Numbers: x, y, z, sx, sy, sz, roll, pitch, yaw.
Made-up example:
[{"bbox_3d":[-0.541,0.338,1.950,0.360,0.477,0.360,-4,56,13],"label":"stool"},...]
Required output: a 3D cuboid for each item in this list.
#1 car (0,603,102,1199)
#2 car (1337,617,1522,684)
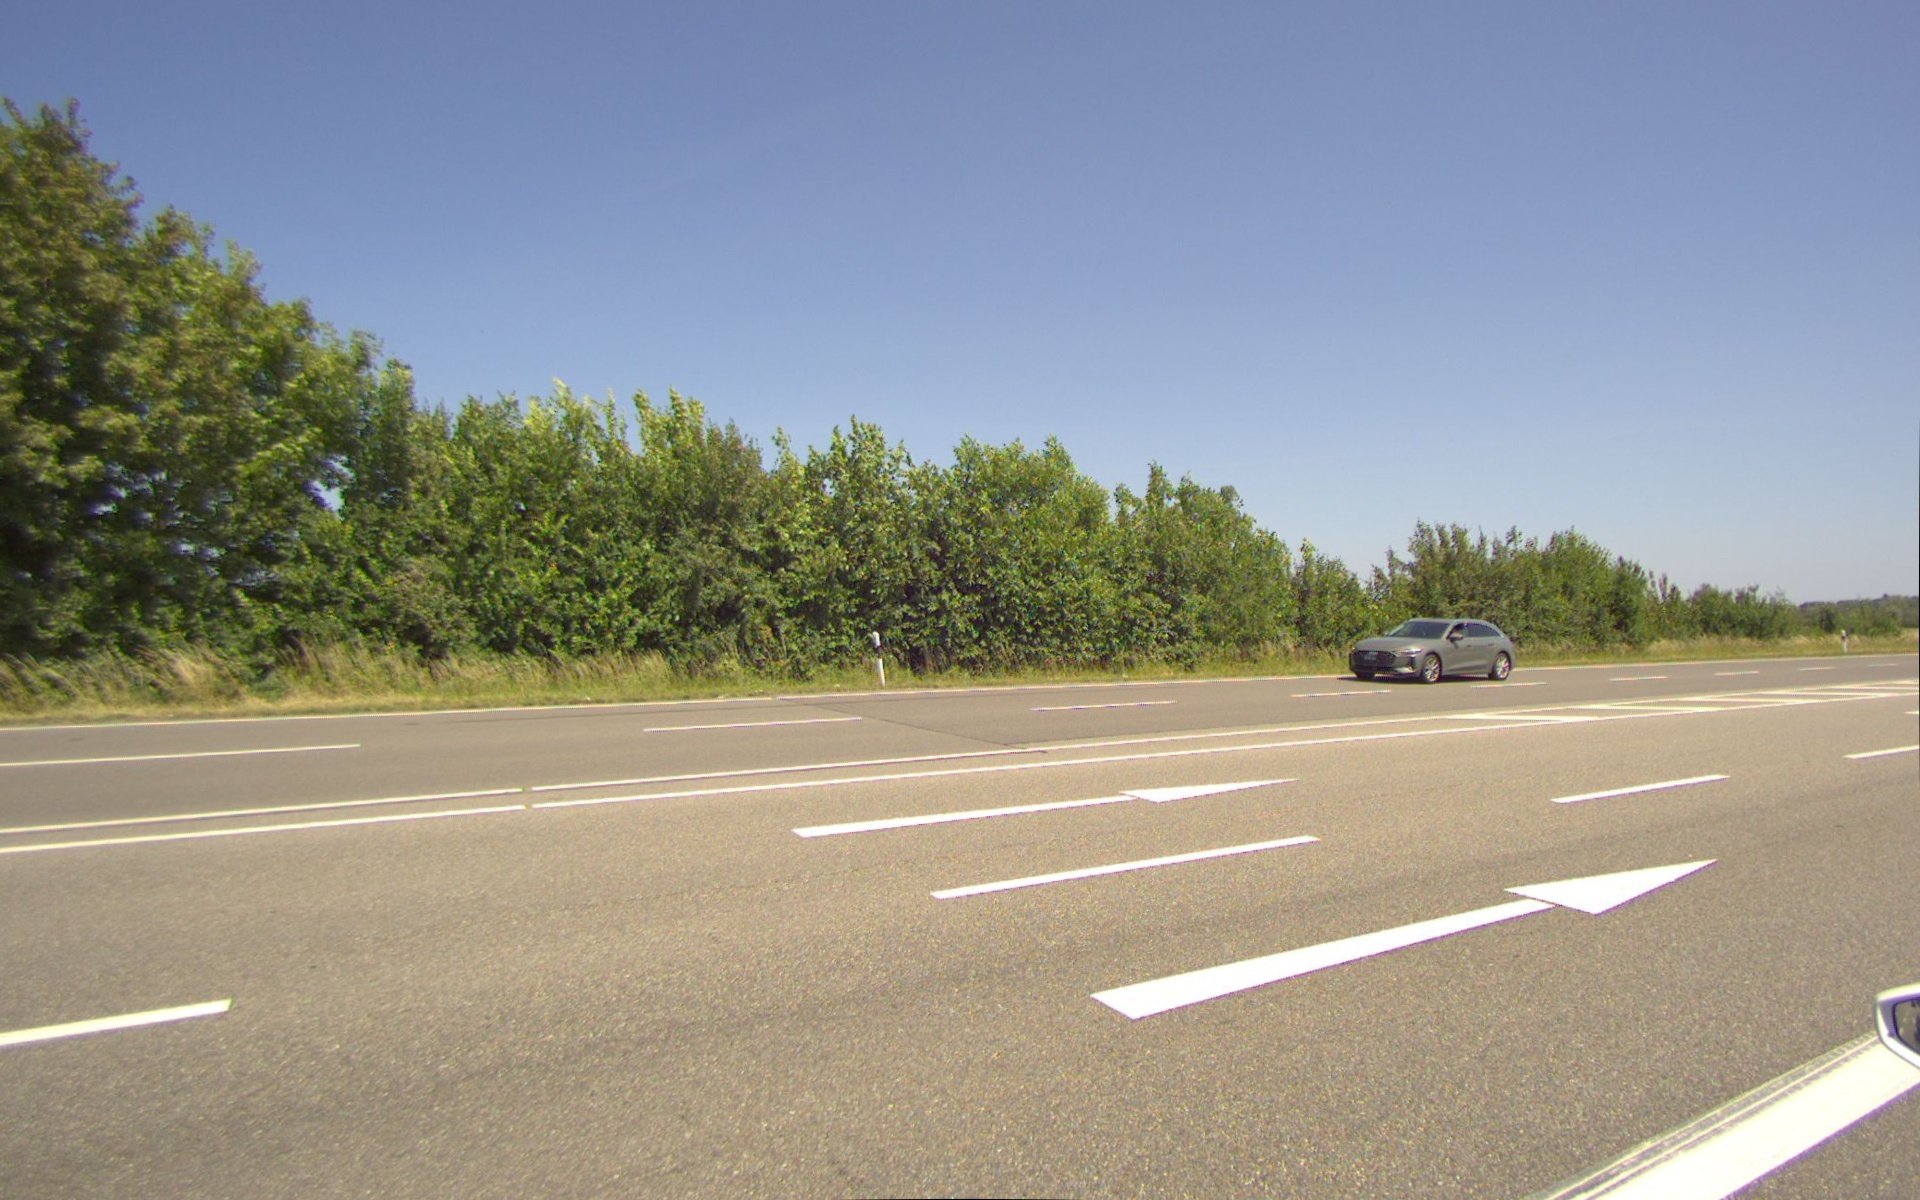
[{"bbox_3d":[-3.861,0.720,0.969,4.329,1.450,1.775,1,0,-30],"label":"car"},{"bbox_3d":[11.118,1.161,23.711,4.482,1.416,1.867,2,-1,-33],"label":"car"}]
